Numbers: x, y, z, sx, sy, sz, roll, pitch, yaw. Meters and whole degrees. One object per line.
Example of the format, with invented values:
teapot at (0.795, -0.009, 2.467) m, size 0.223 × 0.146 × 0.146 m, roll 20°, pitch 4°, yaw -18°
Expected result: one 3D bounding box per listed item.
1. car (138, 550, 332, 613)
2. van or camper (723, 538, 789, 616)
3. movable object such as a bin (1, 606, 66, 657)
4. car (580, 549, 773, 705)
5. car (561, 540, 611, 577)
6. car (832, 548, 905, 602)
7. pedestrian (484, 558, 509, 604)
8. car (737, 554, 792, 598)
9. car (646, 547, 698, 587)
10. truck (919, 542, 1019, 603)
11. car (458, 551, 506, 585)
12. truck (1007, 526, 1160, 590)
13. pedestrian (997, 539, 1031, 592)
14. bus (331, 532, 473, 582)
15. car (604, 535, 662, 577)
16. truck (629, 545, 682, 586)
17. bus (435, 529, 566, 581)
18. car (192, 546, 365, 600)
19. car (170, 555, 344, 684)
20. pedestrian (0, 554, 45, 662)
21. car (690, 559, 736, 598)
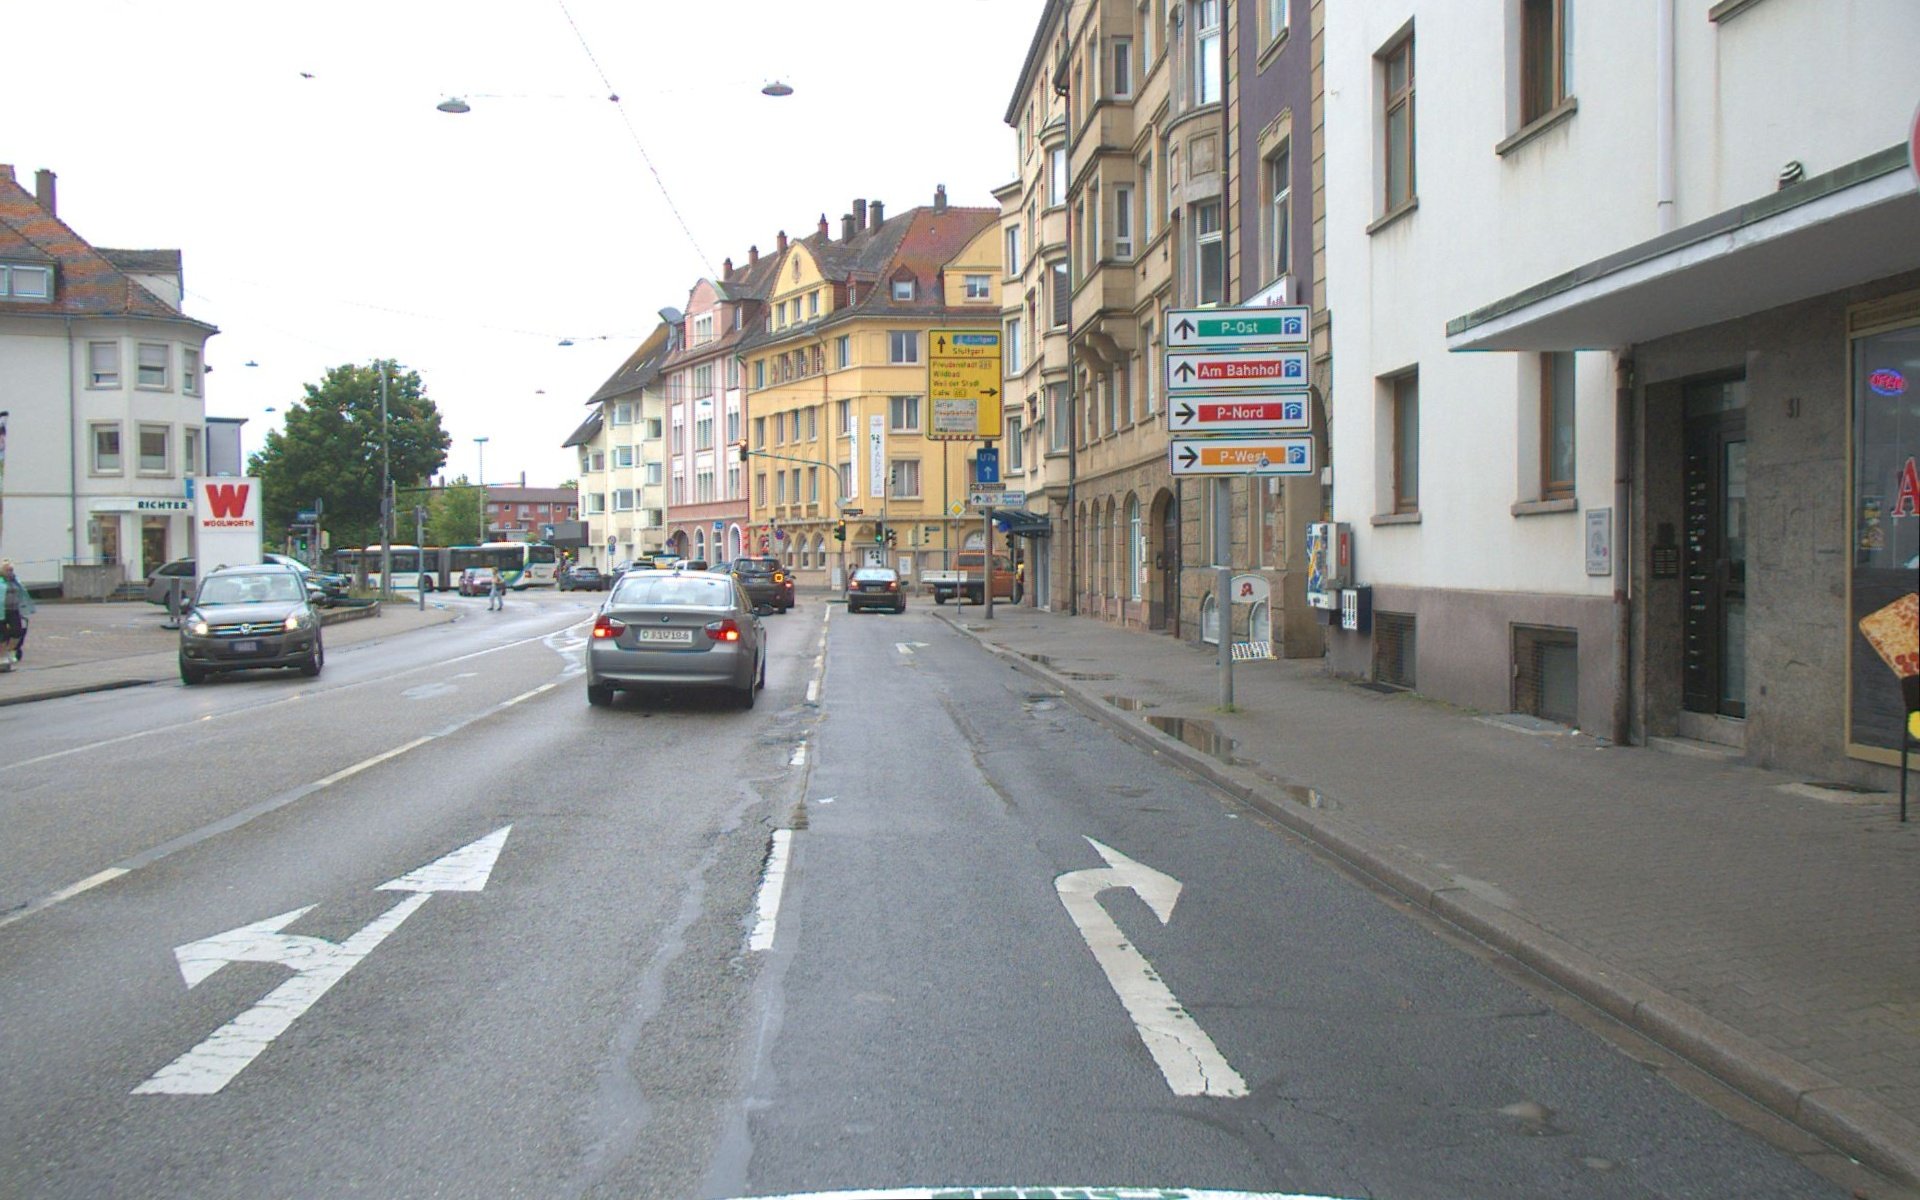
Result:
car at (-19.264, -0.520, 44.121) m, size 4.364 × 1.552 × 1.882 m, roll -2°, pitch 2°, yaw -10°
van or camper at (-6.108, -0.720, 49.518) m, size 1.820 × 2.183 × 4.136 m, roll -1°, pitch 2°, yaw -7°
movable object such as a bin at (-15.367, 0.522, 27.426) m, size 0.740 × 0.802 × 0.729 m, roll 0°, pitch 2°, yaw 41°
car at (-3.025, 0.202, 18.404) m, size 1.764 × 1.489 × 4.366 m, roll 1°, pitch 2°, yaw -6°
car at (-21.568, -2.409, 95.362) m, size 1.969 × 2.048 × 3.968 m, roll -2°, pitch 2°, yaw -26°
car at (-2.906, -0.798, 51.716) m, size 1.767 × 1.590 × 3.990 m, roll 0°, pitch 1°, yaw -11°
pedestrian at (-16.046, -0.654, 57.229) m, size 0.751 × 1.556 × 0.504 m, roll 1°, pitch 1°, yaw -25°
car at (-6.687, -0.845, 56.318) m, size 1.769 × 1.430 × 4.677 m, roll 0°, pitch 1°, yaw -7°
car at (-17.008, -1.964, 97.552) m, size 1.743 × 2.218 × 3.961 m, roll 1°, pitch 1°, yaw -30°
truck at (0.400, -1.115, 64.219) m, size 2.179 × 2.288 × 5.063 m, roll 1°, pitch 2°, yaw 22°
car at (-25.174, -1.710, 86.963) m, size 1.822 × 1.713 × 3.968 m, roll 0°, pitch 2°, yaw -26°
truck at (5.773, -1.988, 77.914) m, size 6.953 × 2.900 × 2.081 m, roll -1°, pitch 1°, yaw -5°
pedestrian at (2.001, -1.278, 61.198) m, size 1.035 × 1.936 × 1.026 m, roll 0°, pitch 2°, yaw 15°
bus at (-36.732, -2.838, 108.885) m, size 8.654 × 3.158 × 2.921 m, roll 0°, pitch 2°, yaw 15°
car at (-16.843, -2.278, 85.082) m, size 1.969 × 2.048 × 3.968 m, roll -2°, pitch 2°, yaw -25°
truck at (-18.996, -2.178, 103.039) m, size 2.004 × 2.431 × 4.196 m, roll 1°, pitch 2°, yaw -30°
bus at (-29.361, -2.855, 105.485) m, size 8.954 × 3.158 × 2.910 m, roll 1°, pitch 3°, yaw 34°
car at (-20.288, -0.814, 49.364) m, size 4.325 × 1.532 × 1.955 m, roll 1°, pitch 2°, yaw 3°
car at (-10.279, 0.196, 24.471) m, size 1.917 × 1.688 × 4.038 m, roll -1°, pitch 2°, yaw -17°
pedestrian at (-15.369, 0.119, 26.760) m, size 0.740 × 1.714 × 0.744 m, roll 1°, pitch 3°, yaw 41°
car at (-12.223, -1.092, 82.154) m, size 1.954 × 1.847 × 3.997 m, roll -1°, pitch 1°, yaw -5°
